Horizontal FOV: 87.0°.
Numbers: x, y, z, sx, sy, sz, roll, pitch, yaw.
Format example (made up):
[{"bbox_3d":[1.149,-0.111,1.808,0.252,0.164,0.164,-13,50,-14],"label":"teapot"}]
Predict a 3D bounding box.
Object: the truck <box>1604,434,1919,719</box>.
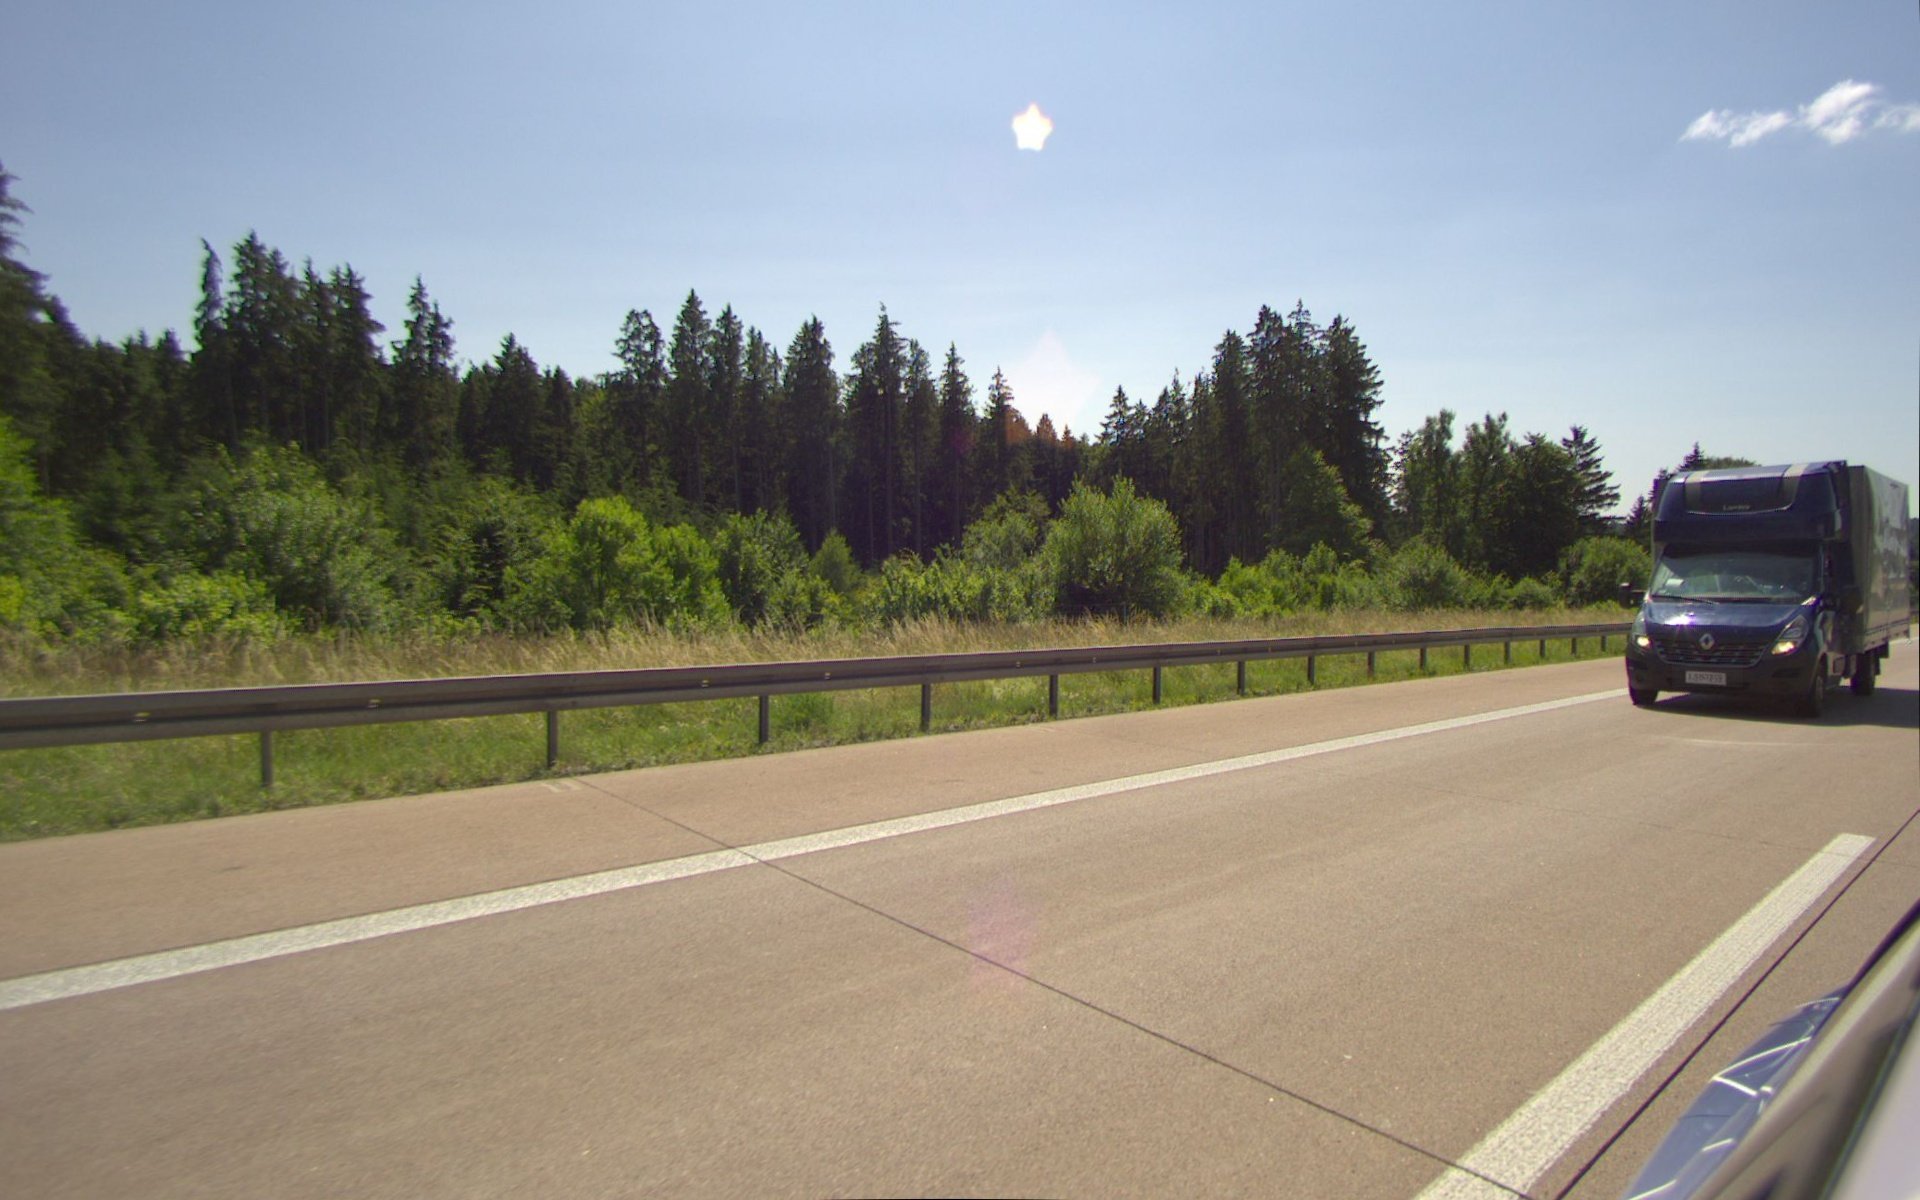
[{"bbox_3d":[12.273,-0.302,15.023,7.648,3.259,2.506,0,1,-41],"label":"truck"}]
